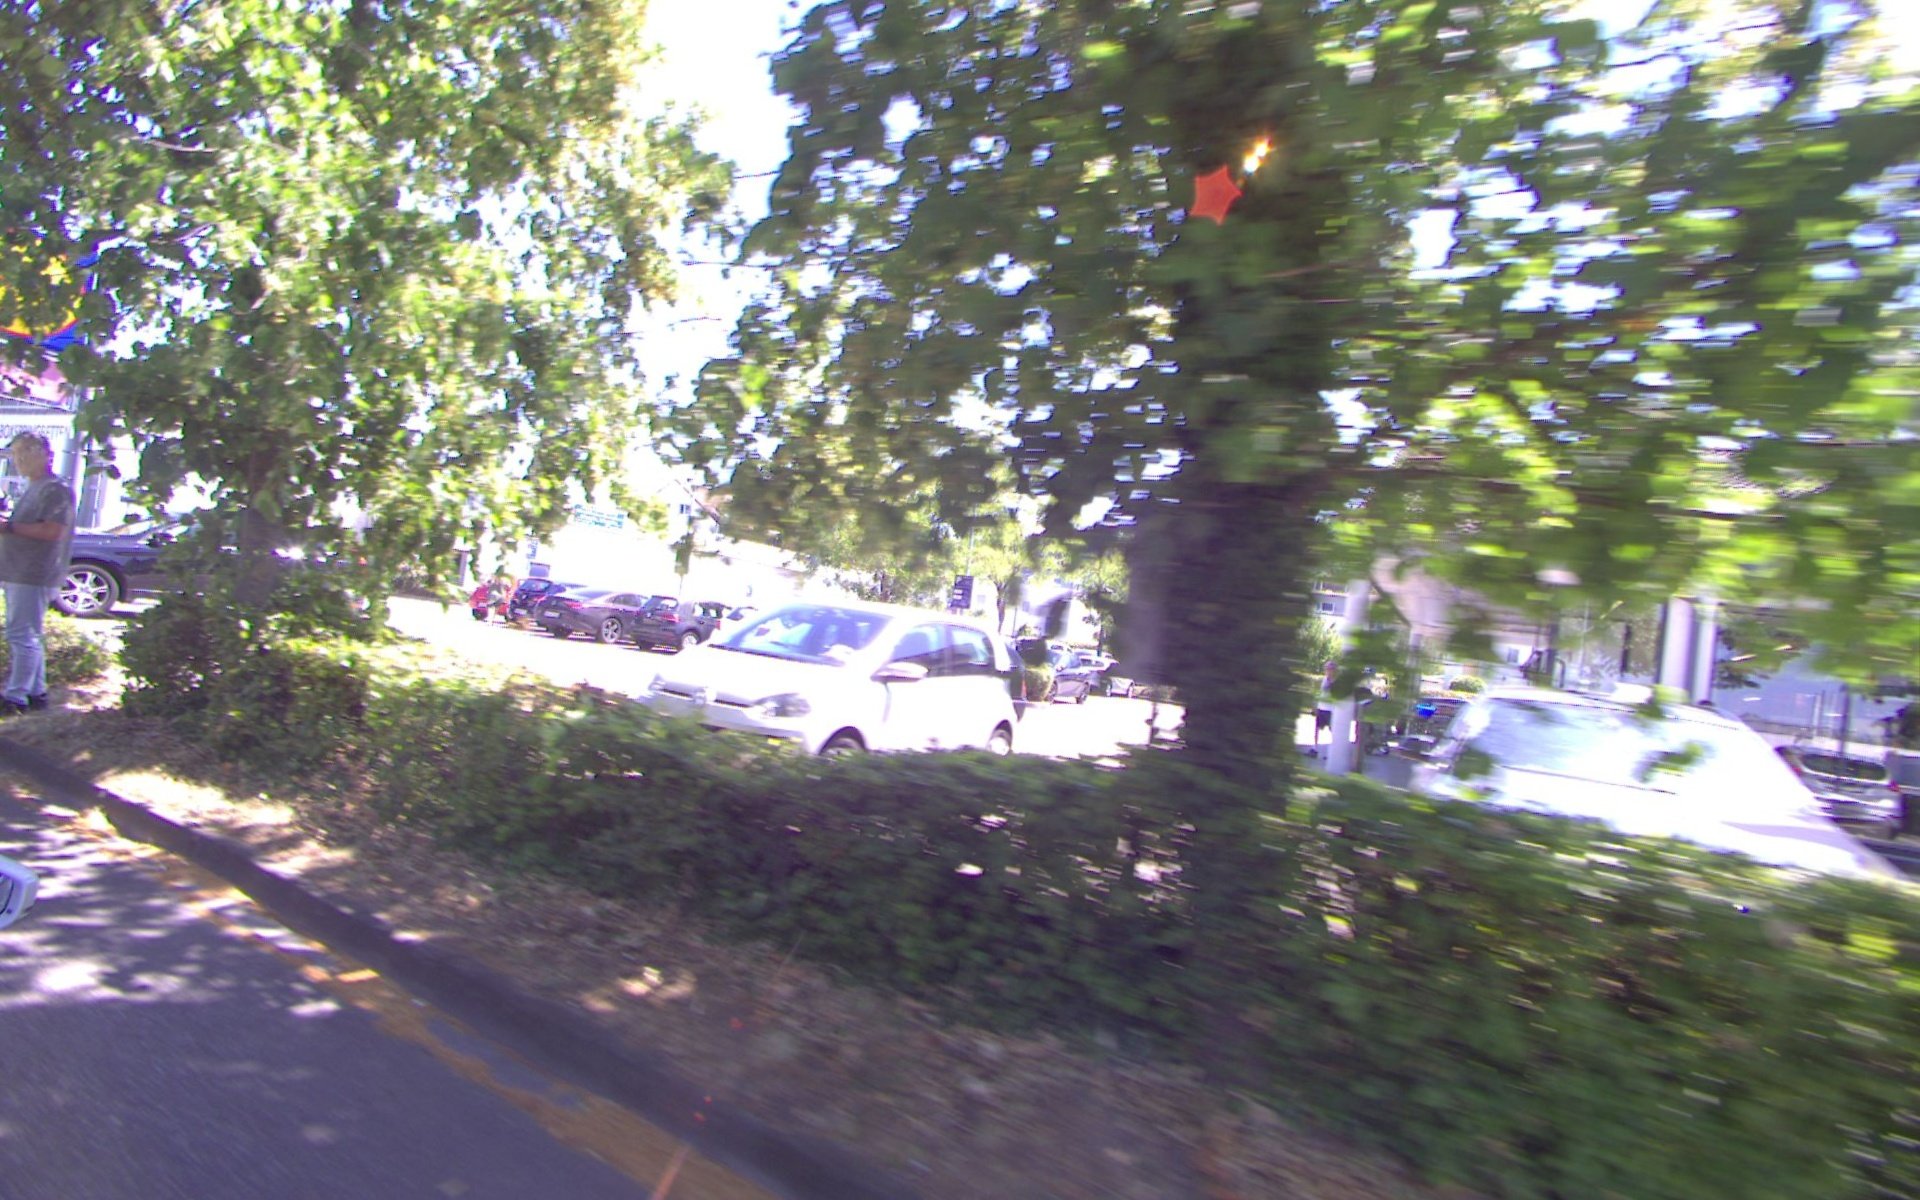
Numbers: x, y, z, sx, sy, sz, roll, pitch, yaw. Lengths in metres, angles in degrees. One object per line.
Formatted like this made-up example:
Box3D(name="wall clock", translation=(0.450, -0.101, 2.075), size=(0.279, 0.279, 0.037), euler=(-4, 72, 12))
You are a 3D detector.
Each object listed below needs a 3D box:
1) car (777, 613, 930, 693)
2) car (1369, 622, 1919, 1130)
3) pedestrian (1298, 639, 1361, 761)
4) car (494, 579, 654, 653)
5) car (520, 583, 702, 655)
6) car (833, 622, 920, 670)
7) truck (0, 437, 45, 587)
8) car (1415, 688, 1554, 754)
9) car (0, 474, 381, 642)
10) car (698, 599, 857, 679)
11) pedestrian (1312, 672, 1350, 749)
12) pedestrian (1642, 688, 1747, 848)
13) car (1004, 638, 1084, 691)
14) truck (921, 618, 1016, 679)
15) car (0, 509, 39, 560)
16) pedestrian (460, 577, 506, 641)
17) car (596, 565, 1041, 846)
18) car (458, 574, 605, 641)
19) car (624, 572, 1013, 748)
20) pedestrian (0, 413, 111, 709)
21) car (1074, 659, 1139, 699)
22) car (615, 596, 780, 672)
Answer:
Box3D(name="car", translation=(-2.419, 1.288, 23.747), size=(1.716, 1.473, 3.607), euler=(6, -4, 29))
Box3D(name="car", translation=(3.445, 1.111, 5.566), size=(1.777, 1.497, 4.324), euler=(6, -3, 26))
Box3D(name="pedestrian", translation=(6.576, 1.778, 17.894), size=(0.790, 2.037, 0.784), euler=(5, -2, 28))
Box3D(name="car", translation=(-10.992, 0.496, 28.946), size=(1.777, 1.579, 4.035), euler=(5, -4, 27))
Box3D(name="car", translation=(-9.083, 0.551, 26.566), size=(1.870, 1.407, 4.253), euler=(5, -3, 30))
Box3D(name="car", translation=(-3.582, 2.039, 43.930), size=(1.625, 1.667, 3.868), euler=(5, -3, 33))
Box3D(name="truck", translation=(-20.196, -1.964, 18.332), size=(2.384, 2.982, 5.941), euler=(7, -2, -14))
Box3D(name="car", translation=(17.637, 4.024, 34.027), size=(3.929, 1.571, 1.999), euler=(6, -1, 25))
Box3D(name="car", translation=(-11.213, -0.499, 14.471), size=(1.864, 1.686, 4.522), euler=(5, -3, 33))
Box3D(name="car", translation=(-4.420, 1.016, 24.856), size=(1.788, 1.520, 3.733), euler=(6, -4, 29))
Box3D(name="pedestrian", translation=(8.037, 2.393, 21.765), size=(0.549, 1.569, 0.803), euler=(5, -2, 28))
Box3D(name="pedestrian", translation=(8.879, 2.001, 12.197), size=(0.771, 1.773, 0.700), euler=(5, -2, 24))
Box3D(name="car", translation=(3.463, 2.634, 40.791), size=(1.745, 1.811, 4.000), euler=(5, -3, 26))
Box3D(name="truck", translation=(0.530, 2.487, 50.701), size=(2.143, 2.484, 5.483), euler=(5, -4, 30))
Box3D(name="car", translation=(-31.645, -2.283, 31.395), size=(1.780, 1.477, 3.985), euler=(4, -3, 40))
Box3D(name="pedestrian", translation=(-12.801, 0.242, 26.990), size=(0.695, 1.610, 0.679), euler=(5, -2, 30))
Box3D(name="car", translation=(-0.831, 0.753, 7.720), size=(1.554, 1.524, 3.407), euler=(6, -2, 28))
Box3D(name="car", translation=(-13.051, 0.280, 30.902), size=(1.622, 1.548, 4.003), euler=(5, -4, 24))
Box3D(name="car", translation=(-1.693, 0.760, 12.212), size=(4.248, 1.520, 1.737), euler=(9, -3, -25))
Box3D(name="pedestrian", translation=(-6.117, -0.248, 6.472), size=(0.611, 1.809, 0.729), euler=(5, -2, 38))
Box3D(name="car", translation=(5.742, 3.099, 39.124), size=(1.404, 1.336, 3.427), euler=(5, -3, 26))
Box3D(name="car", translation=(-6.677, 0.929, 26.017), size=(1.699, 1.493, 4.029), euler=(5, -4, 30))
